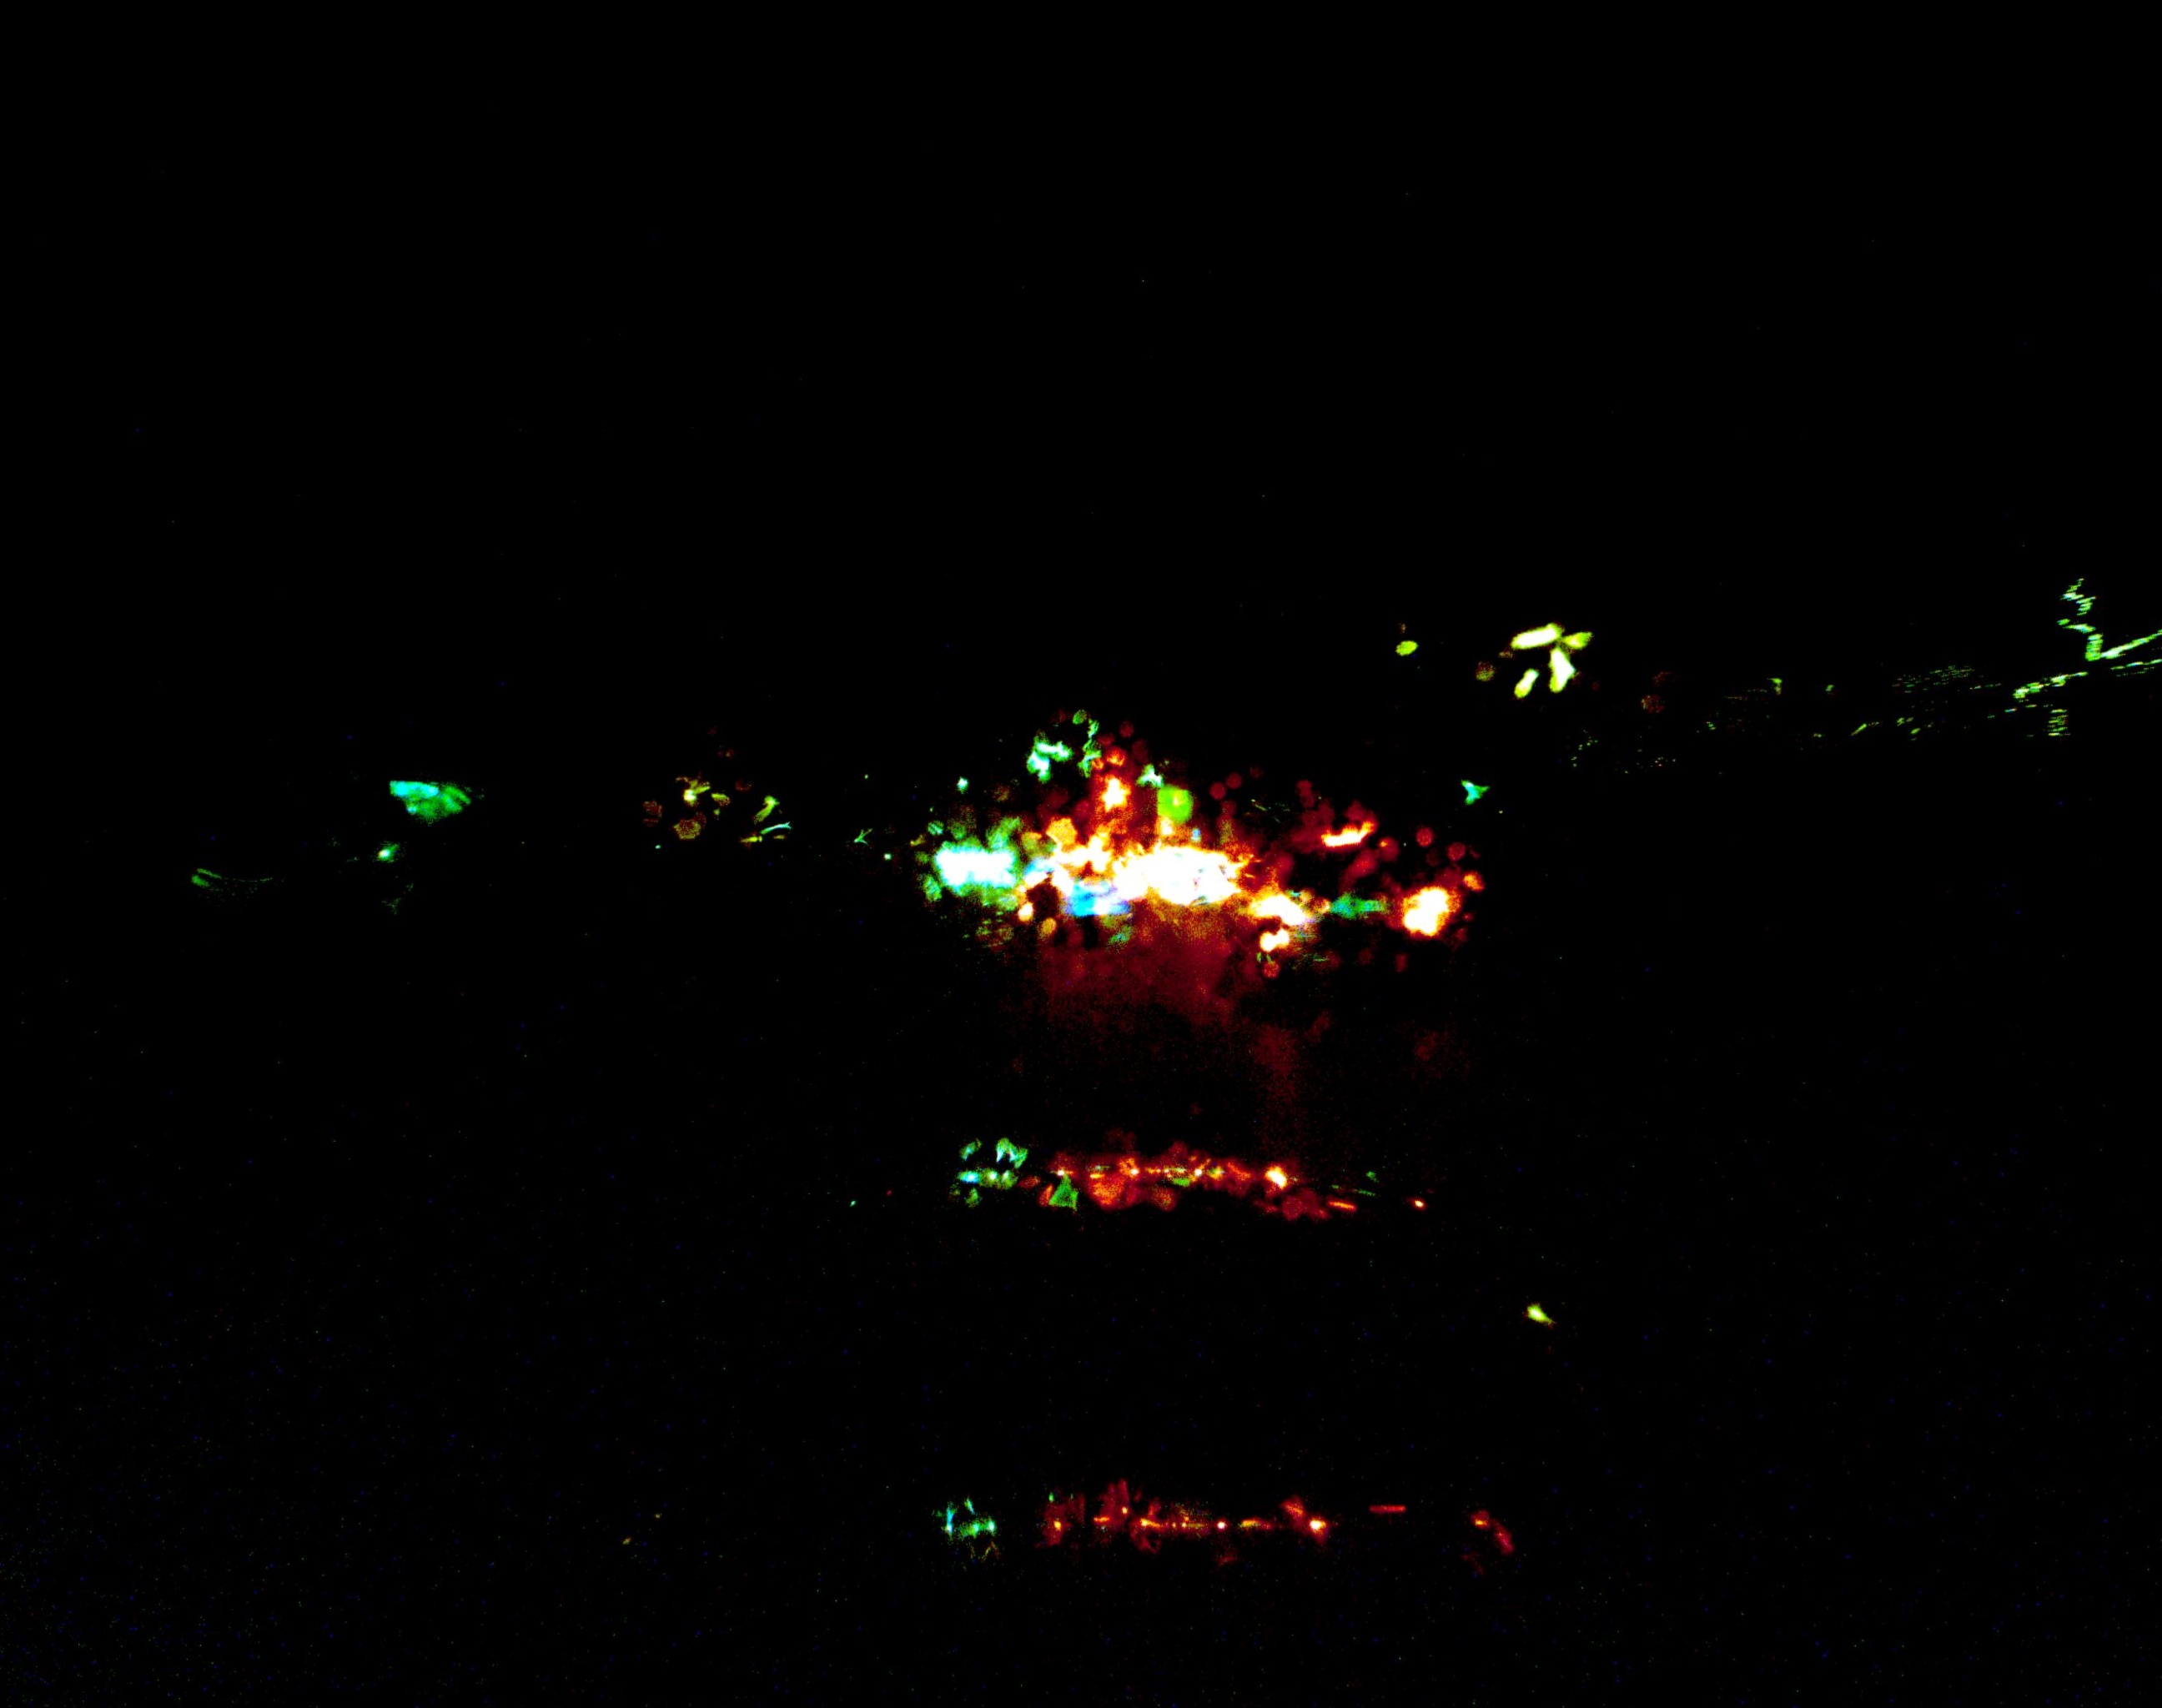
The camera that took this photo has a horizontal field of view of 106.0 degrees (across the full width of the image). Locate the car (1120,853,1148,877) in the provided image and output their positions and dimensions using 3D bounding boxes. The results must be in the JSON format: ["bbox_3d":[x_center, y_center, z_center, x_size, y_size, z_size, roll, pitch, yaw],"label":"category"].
[{"bbox_3d":[3.376,0.683,52.631,1.657,1.450,4.052,-1,-1,2],"label":"car"}]

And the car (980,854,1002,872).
[{"bbox_3d":[-10.056,0.968,90.906,1.994,1.912,4.725,-1,0,-11],"label":"car"}]

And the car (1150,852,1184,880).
[{"bbox_3d":[4.780,0.642,45.609,1.657,1.450,4.052,-1,0,2],"label":"car"}]

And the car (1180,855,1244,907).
[{"bbox_3d":[4.030,0.773,25.621,1.759,1.450,4.225,-1,0,6],"label":"car"}]

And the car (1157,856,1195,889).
[{"bbox_3d":[4.527,0.850,39.084,1.655,1.450,4.055,-1,-1,5],"label":"car"}]

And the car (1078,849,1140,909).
[{"bbox_3d":[0.907,0.714,25.223,1.701,1.638,3.733,-2,0,3],"label":"car"}]

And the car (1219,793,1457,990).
[{"bbox_3d":[2.948,0.366,10.330,1.934,1.972,4.223,-1,0,4],"label":"car"}]

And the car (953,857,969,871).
[{"bbox_3d":[-17.824,1.450,120.657,1.995,1.892,4.722,-1,0,-13],"label":"car"}]

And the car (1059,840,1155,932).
[{"bbox_3d":[0.550,0.577,16.323,1.688,1.630,3.855,0,0,3],"label":"car"}]
